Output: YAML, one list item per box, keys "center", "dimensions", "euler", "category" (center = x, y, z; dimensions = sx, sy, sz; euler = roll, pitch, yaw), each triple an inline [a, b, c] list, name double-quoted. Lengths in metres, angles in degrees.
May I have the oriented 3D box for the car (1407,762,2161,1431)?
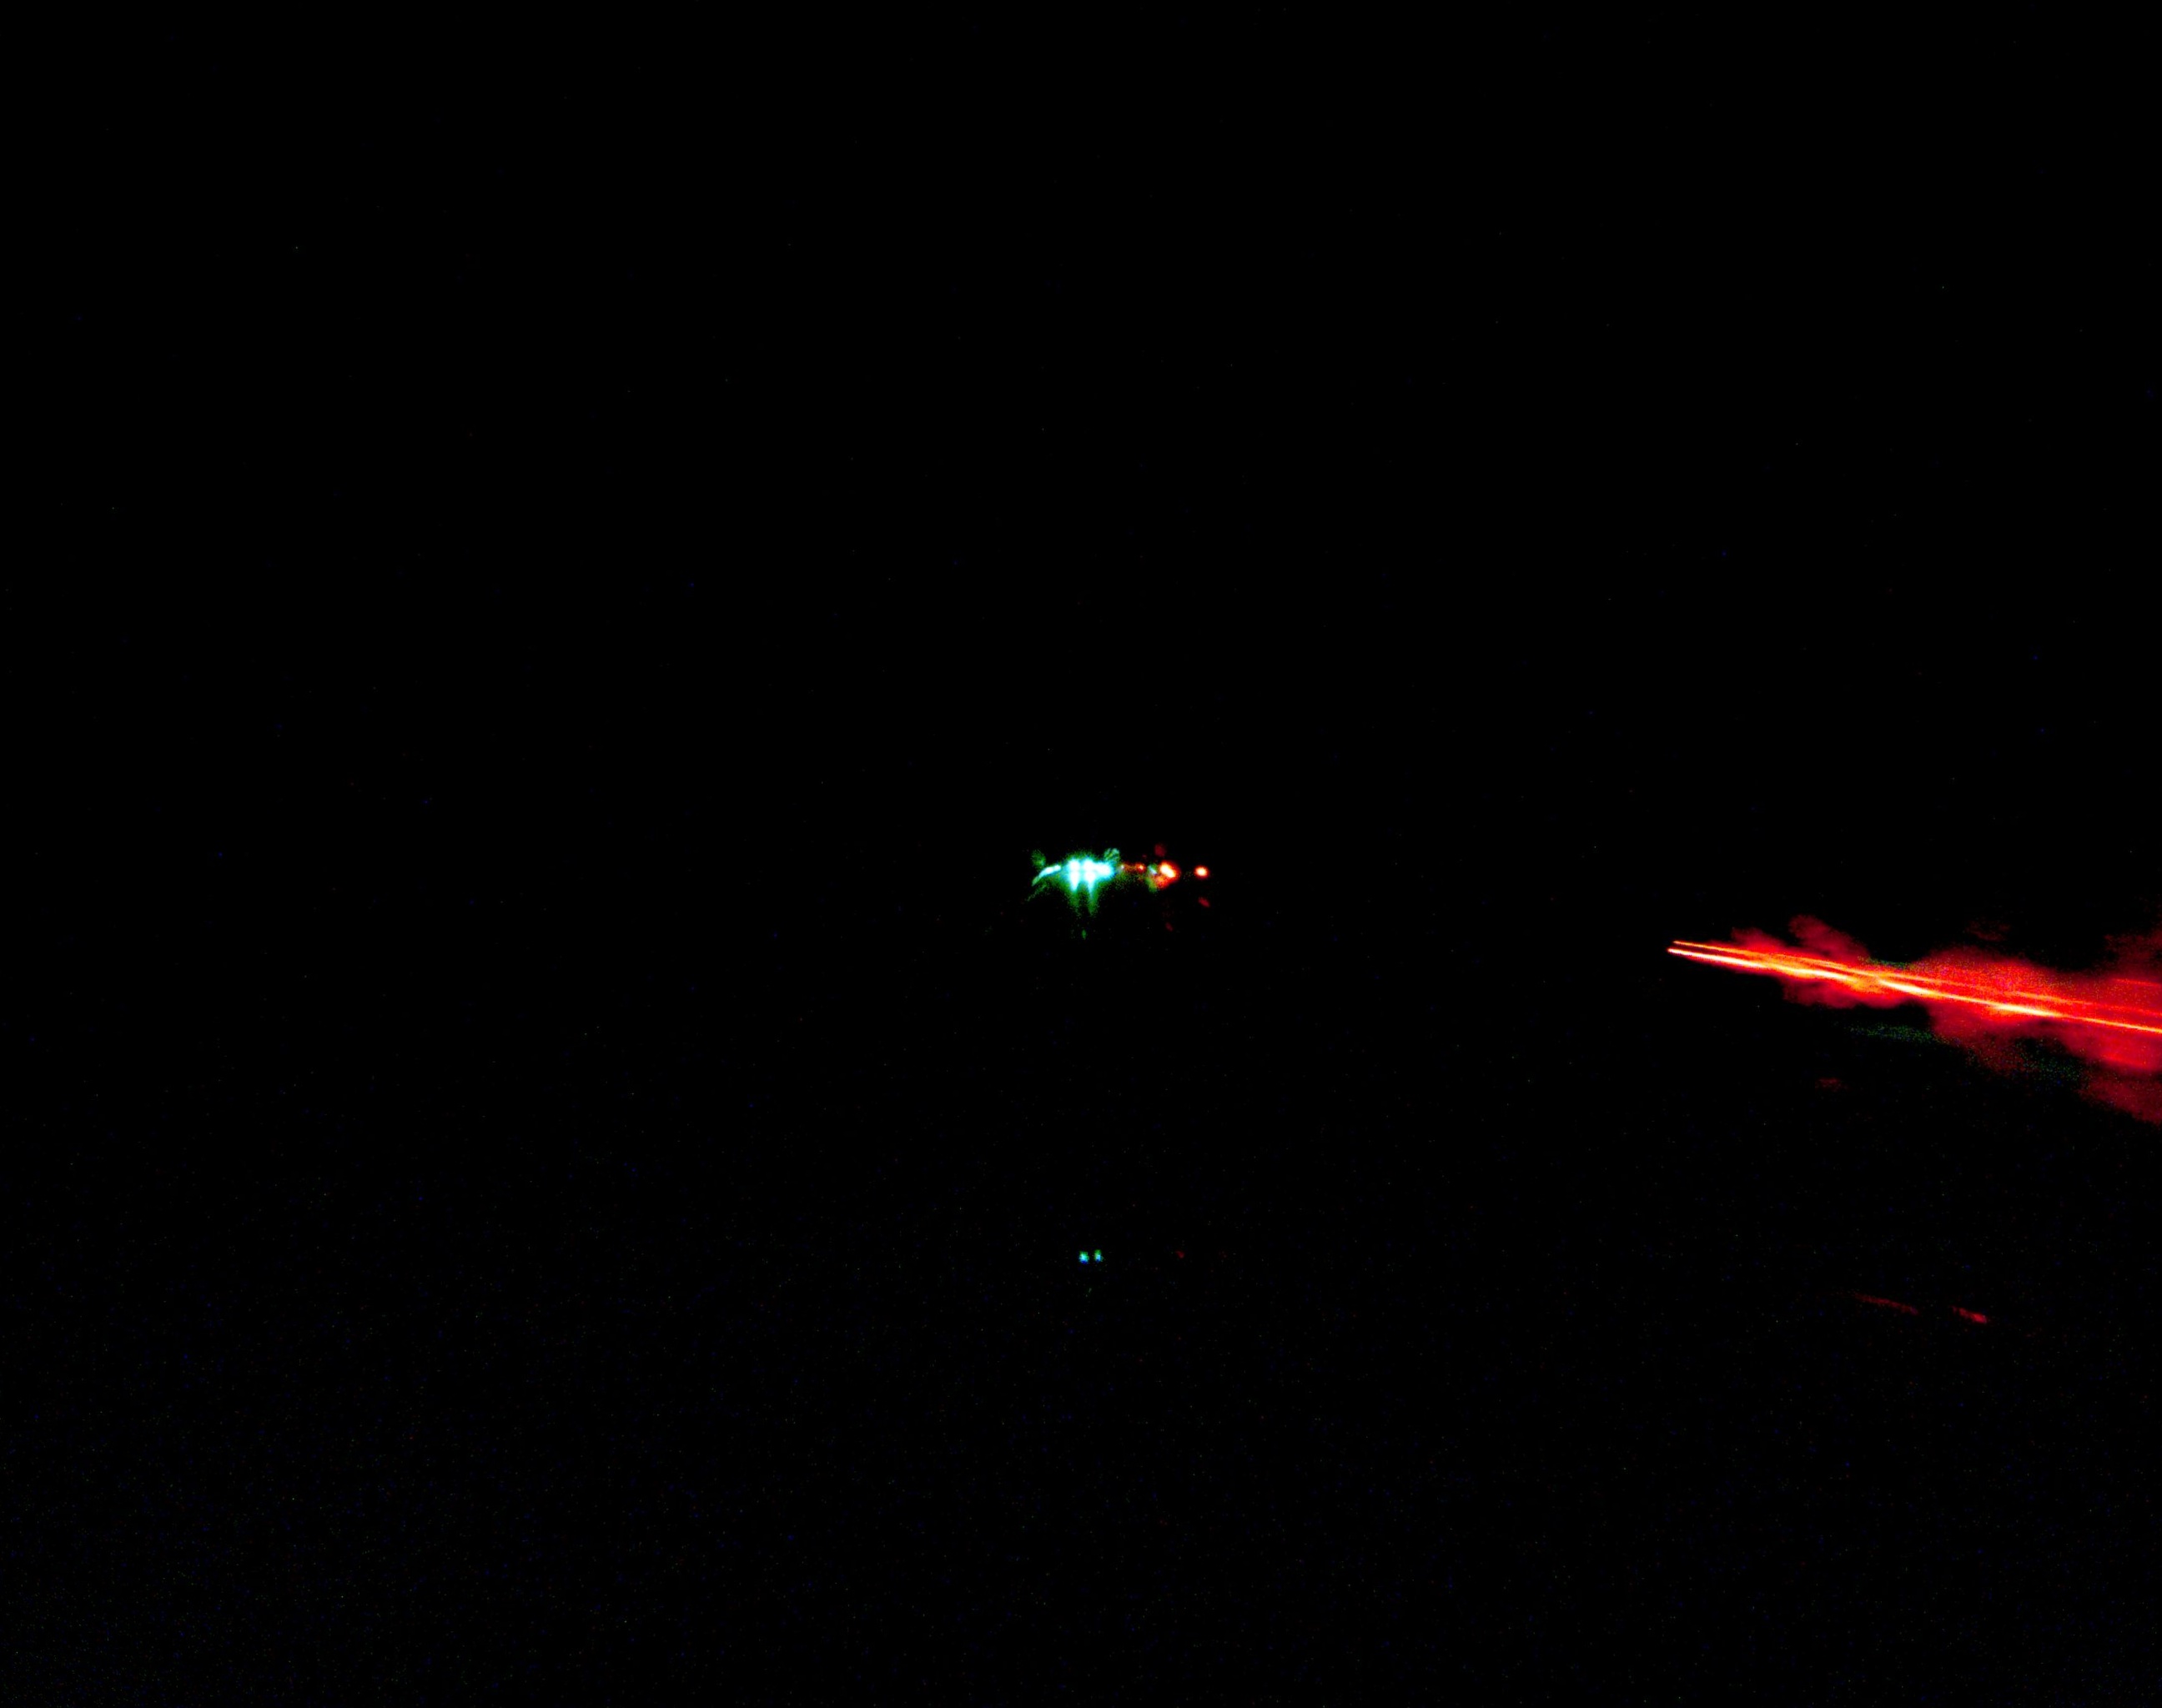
- center: [3.698, 0.601, 4.138]
  dimensions: [1.998, 1.782, 4.246]
  euler: [-3, 0, 1]
  category: "car"

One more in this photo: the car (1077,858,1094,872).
- center: [0.509, 1.217, 84.579]
  dimensions: [1.807, 1.452, 4.276]
  euler: [-3, 0, 1]
  category: "car"

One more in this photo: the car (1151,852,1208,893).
- center: [3.874, 0.684, 30.453]
  dimensions: [1.848, 1.471, 4.249]
  euler: [-3, 0, 2]
  category: "car"

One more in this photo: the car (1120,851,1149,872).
- center: [4.080, 0.574, 58.531]
  dimensions: [1.998, 1.466, 3.924]
  euler: [-3, 0, 1]
  category: "car"
